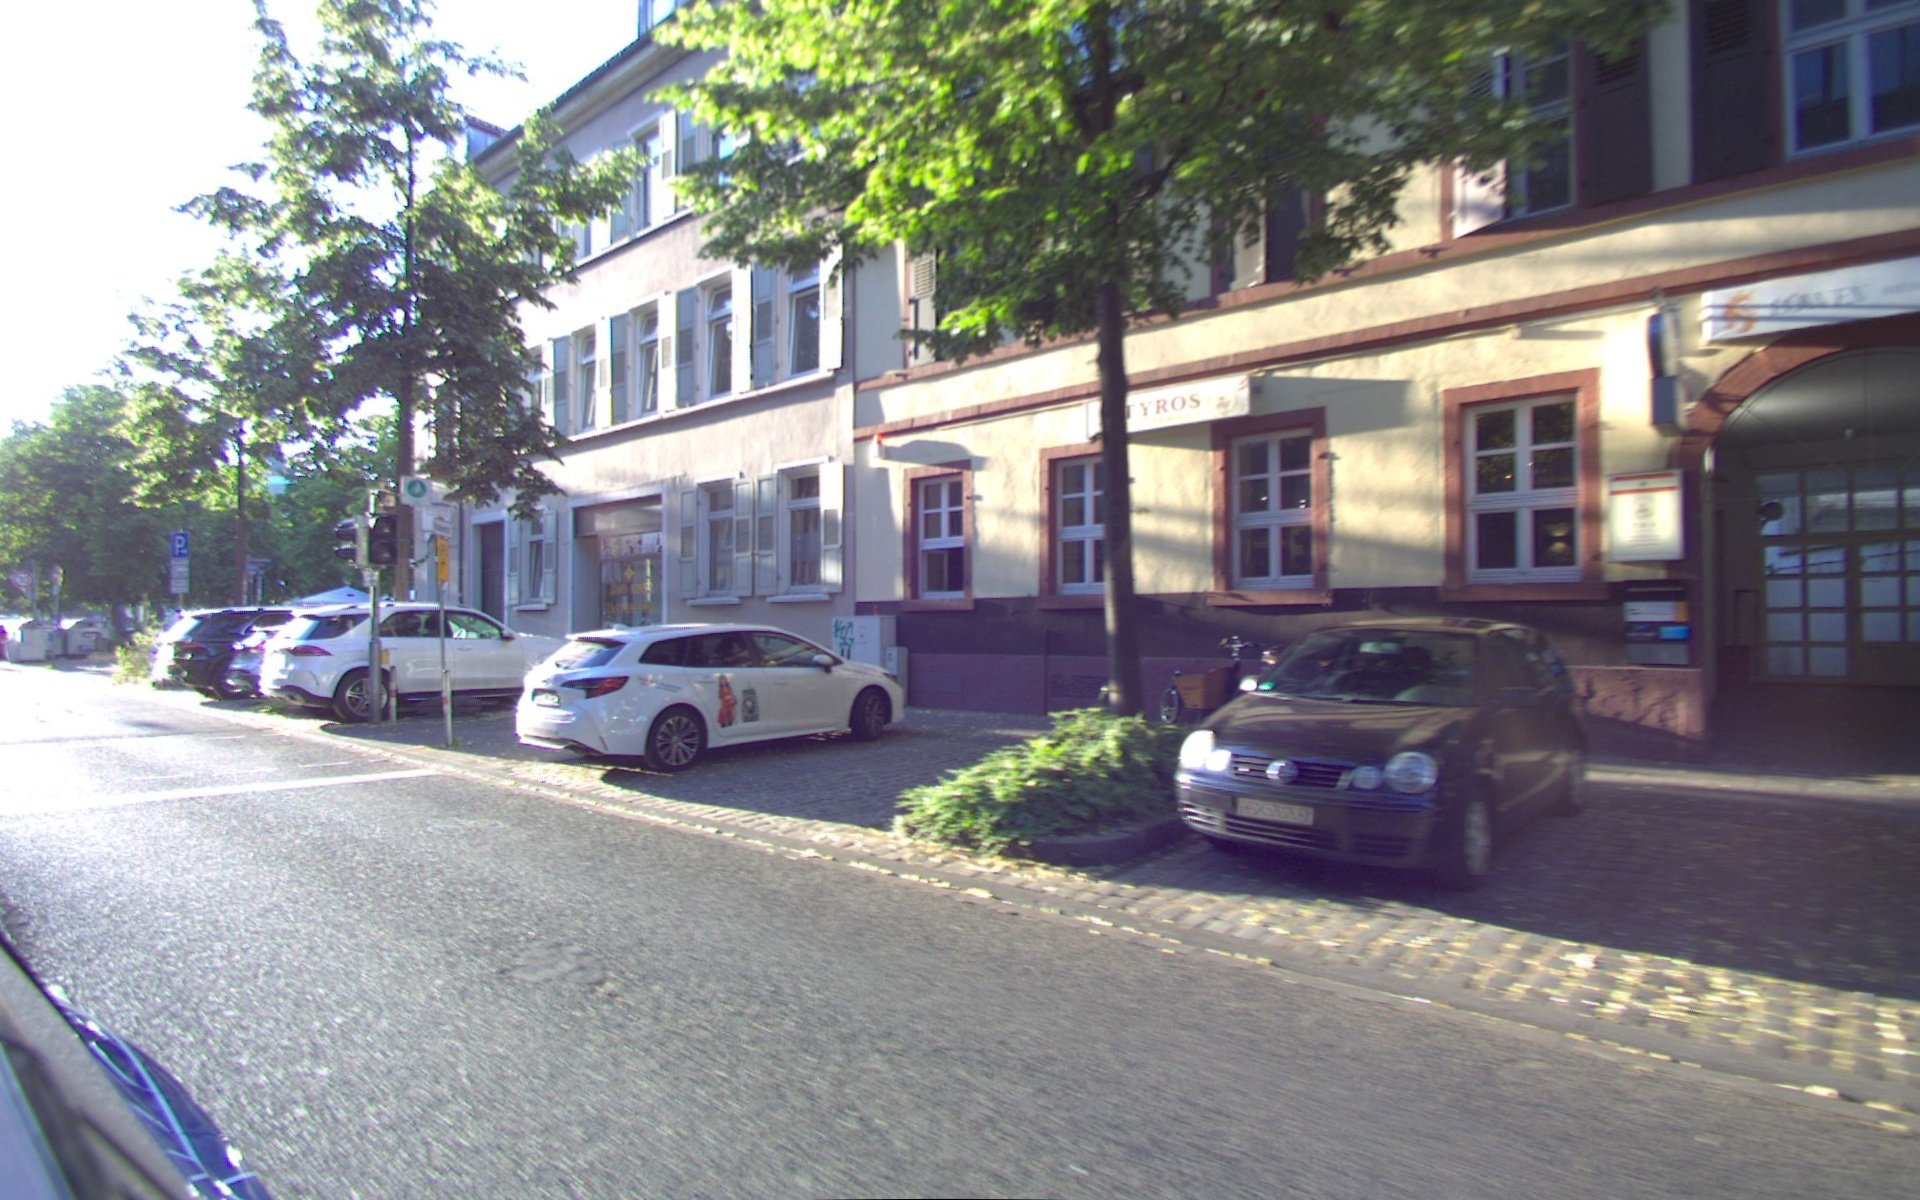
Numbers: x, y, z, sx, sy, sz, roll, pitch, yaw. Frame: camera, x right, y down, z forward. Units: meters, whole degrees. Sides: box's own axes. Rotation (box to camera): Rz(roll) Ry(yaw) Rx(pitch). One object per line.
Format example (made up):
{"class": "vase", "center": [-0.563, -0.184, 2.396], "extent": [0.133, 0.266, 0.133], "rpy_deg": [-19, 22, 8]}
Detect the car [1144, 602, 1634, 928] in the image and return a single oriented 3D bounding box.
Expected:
{"class": "car", "center": [3.016, 0.787, 6.686], "extent": [1.789, 1.459, 3.744], "rpy_deg": [-2, -1, 43]}

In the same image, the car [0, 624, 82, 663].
{"class": "car", "center": [-41.828, 1.912, 44.791], "extent": [1.876, 1.645, 4.566], "rpy_deg": [-1, -2, 3]}

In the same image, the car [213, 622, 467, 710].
{"class": "car", "center": [-11.712, 1.175, 19.281], "extent": [1.820, 1.472, 3.775], "rpy_deg": [-2, -2, 42]}

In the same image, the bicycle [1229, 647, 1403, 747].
{"class": "bicycle", "center": [3.960, 1.049, 11.364], "extent": [0.613, 0.997, 1.734], "rpy_deg": [-1, -1, -45]}

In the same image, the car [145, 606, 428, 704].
{"class": "car", "center": [-13.793, 1.051, 20.957], "extent": [1.945, 1.796, 4.509], "rpy_deg": [-1, -1, 40]}

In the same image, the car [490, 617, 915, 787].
{"class": "car", "center": [-2.656, 0.956, 11.299], "extent": [1.821, 1.434, 4.337], "rpy_deg": [-2, -1, 40]}

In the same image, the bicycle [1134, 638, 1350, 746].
{"class": "bicycle", "center": [3.223, 1.014, 11.777], "extent": [0.702, 1.107, 2.365], "rpy_deg": [-1, -1, -45]}

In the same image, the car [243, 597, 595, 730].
{"class": "car", "center": [-8.653, 0.907, 16.526], "extent": [2.052, 1.825, 4.657], "rpy_deg": [-2, -1, 42]}

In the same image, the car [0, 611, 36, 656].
{"class": "car", "center": [-52.213, 1.780, 53.372], "extent": [2.136, 2.376, 4.755], "rpy_deg": [-1, -2, 13]}

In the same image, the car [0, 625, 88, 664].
{"class": "car", "center": [-39.379, 1.837, 42.297], "extent": [1.790, 1.569, 4.566], "rpy_deg": [-1, -2, 3]}

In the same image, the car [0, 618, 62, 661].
{"class": "car", "center": [-44.480, 1.838, 46.725], "extent": [1.876, 1.948, 4.566], "rpy_deg": [-1, -2, 3]}

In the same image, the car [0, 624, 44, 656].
{"class": "car", "center": [-49.780, 2.044, 51.323], "extent": [2.114, 1.594, 4.553], "rpy_deg": [-1, -2, 12]}
